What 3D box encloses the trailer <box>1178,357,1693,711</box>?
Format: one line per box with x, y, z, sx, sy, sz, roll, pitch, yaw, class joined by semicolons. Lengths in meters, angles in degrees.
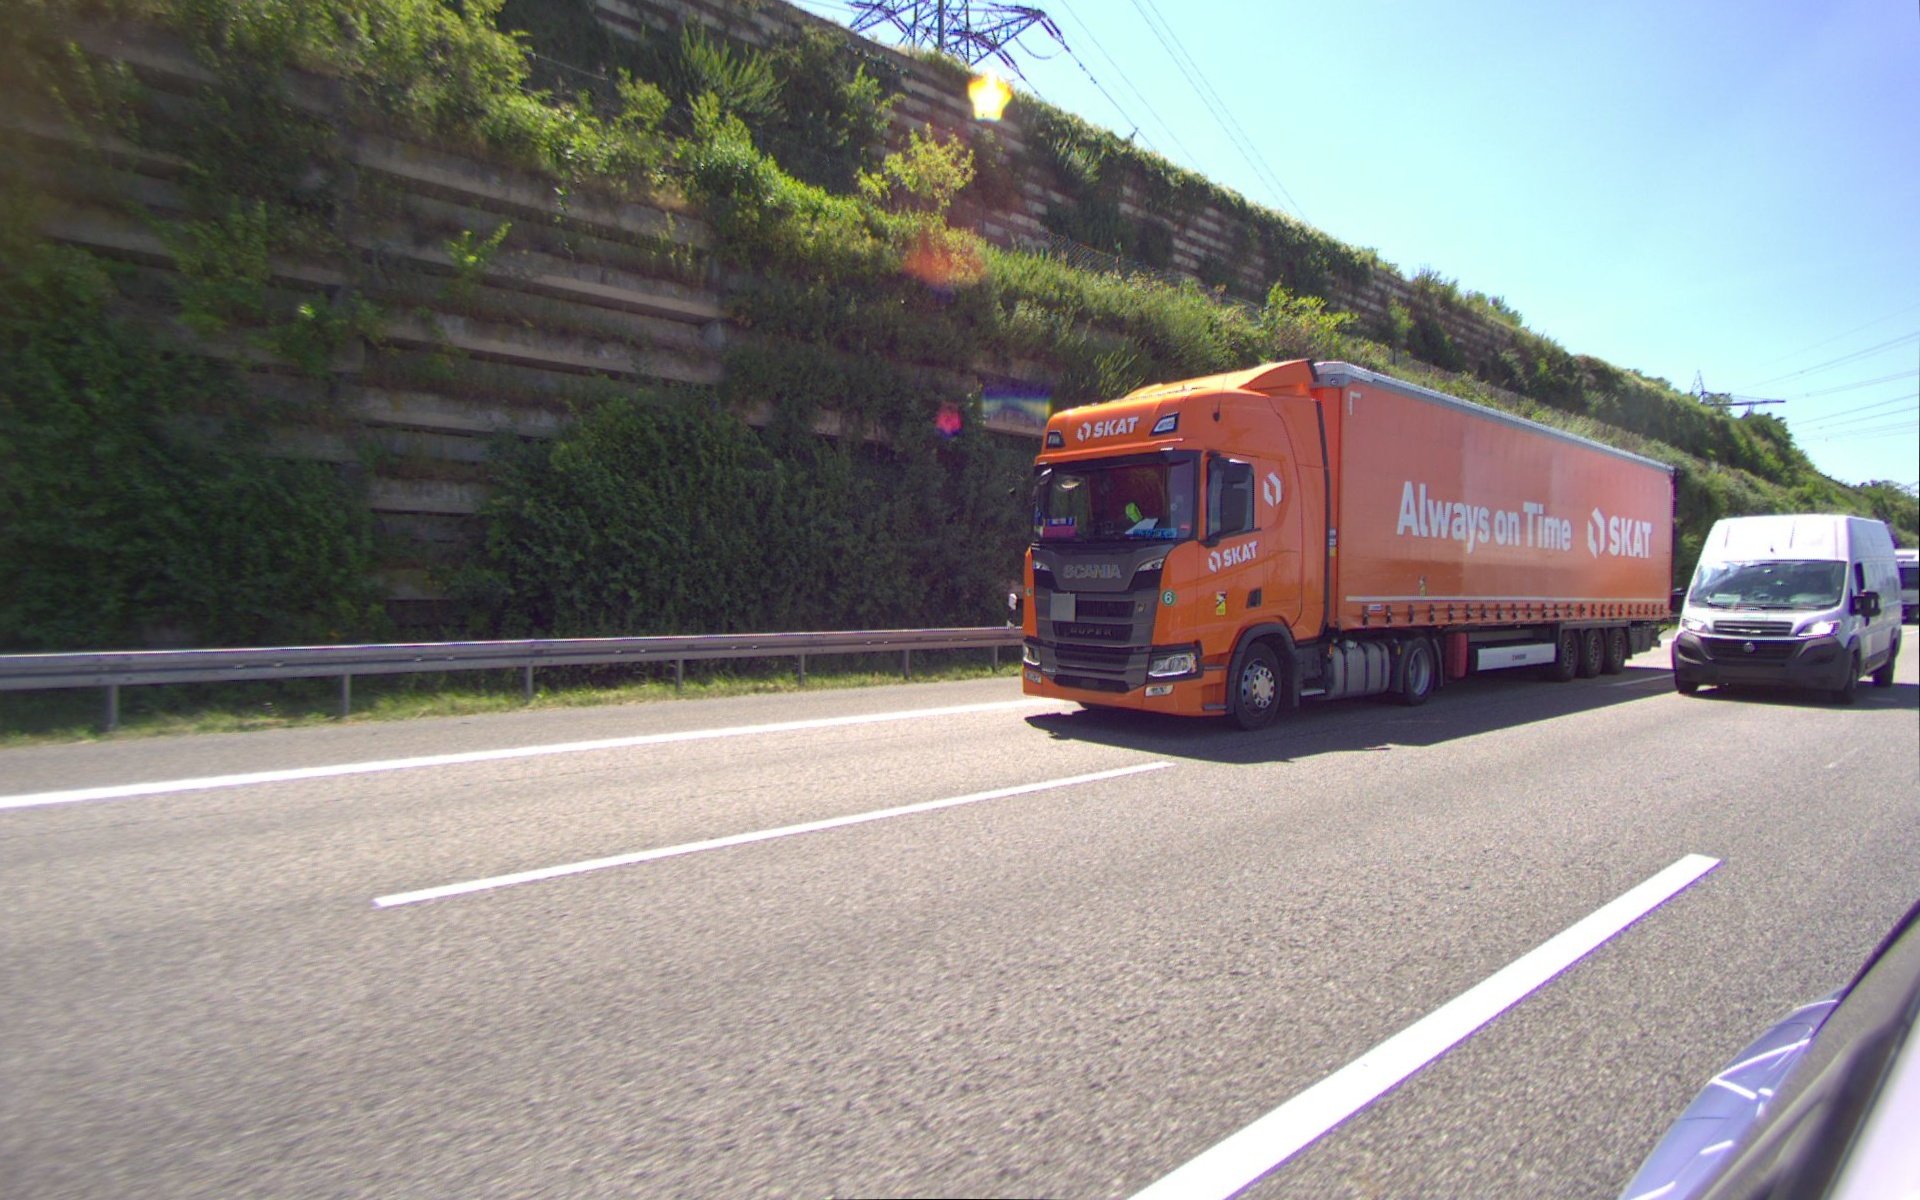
8.854;-0.811;17.023;13.368;4.055;2.650;0;1;-41;trailer

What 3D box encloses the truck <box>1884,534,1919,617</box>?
51.873;-1.305;54.373;6.147;4.272;2.512;0;2;-41;truck

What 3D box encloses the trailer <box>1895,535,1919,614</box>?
58.353;-1.402;60.096;16.732;4.264;2.519;0;1;-42;trailer

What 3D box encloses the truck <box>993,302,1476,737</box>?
3.660;-0.790;12.528;6.412;4.042;2.623;0;1;-41;truck

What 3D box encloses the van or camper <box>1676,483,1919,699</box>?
13.563;-0.150;16.085;6.640;2.803;2.100;0;1;-42;van or camper
